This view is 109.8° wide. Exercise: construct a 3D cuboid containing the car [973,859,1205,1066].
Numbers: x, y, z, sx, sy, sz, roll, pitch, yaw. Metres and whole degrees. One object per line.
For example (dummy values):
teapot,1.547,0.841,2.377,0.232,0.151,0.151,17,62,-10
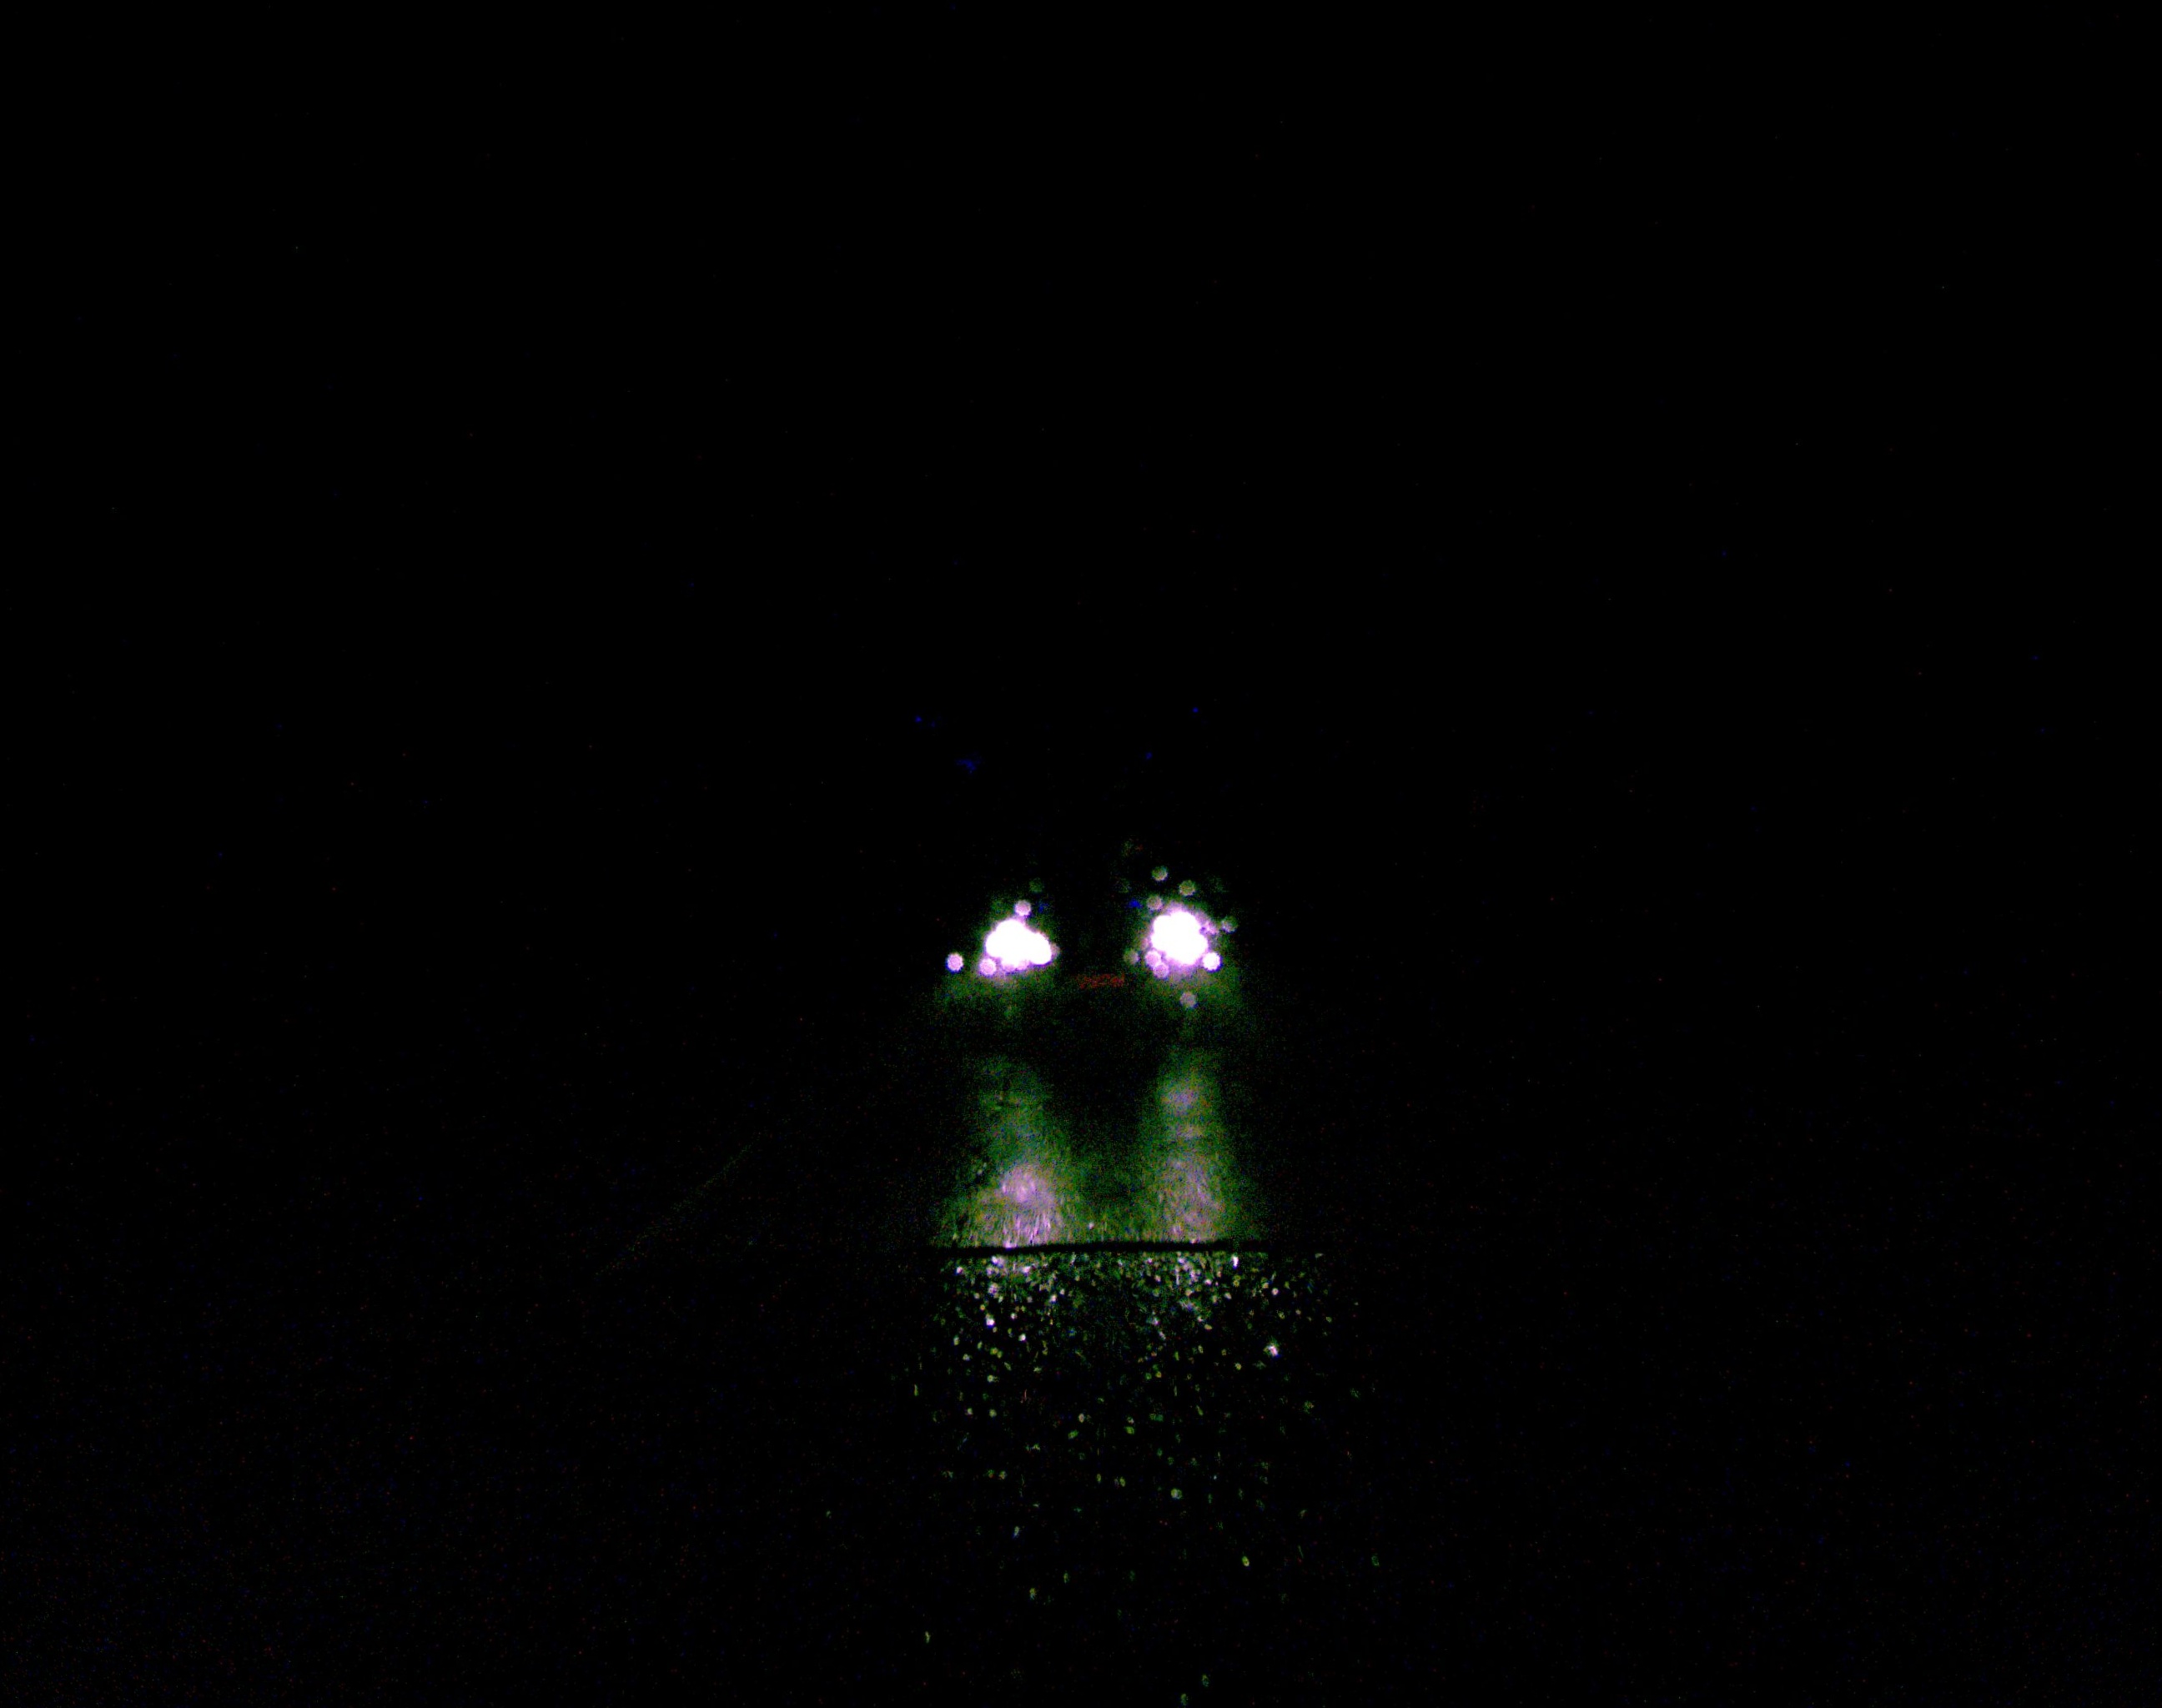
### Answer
car,0.160,0.913,8.231,1.845,1.565,4.000,-2,1,3
